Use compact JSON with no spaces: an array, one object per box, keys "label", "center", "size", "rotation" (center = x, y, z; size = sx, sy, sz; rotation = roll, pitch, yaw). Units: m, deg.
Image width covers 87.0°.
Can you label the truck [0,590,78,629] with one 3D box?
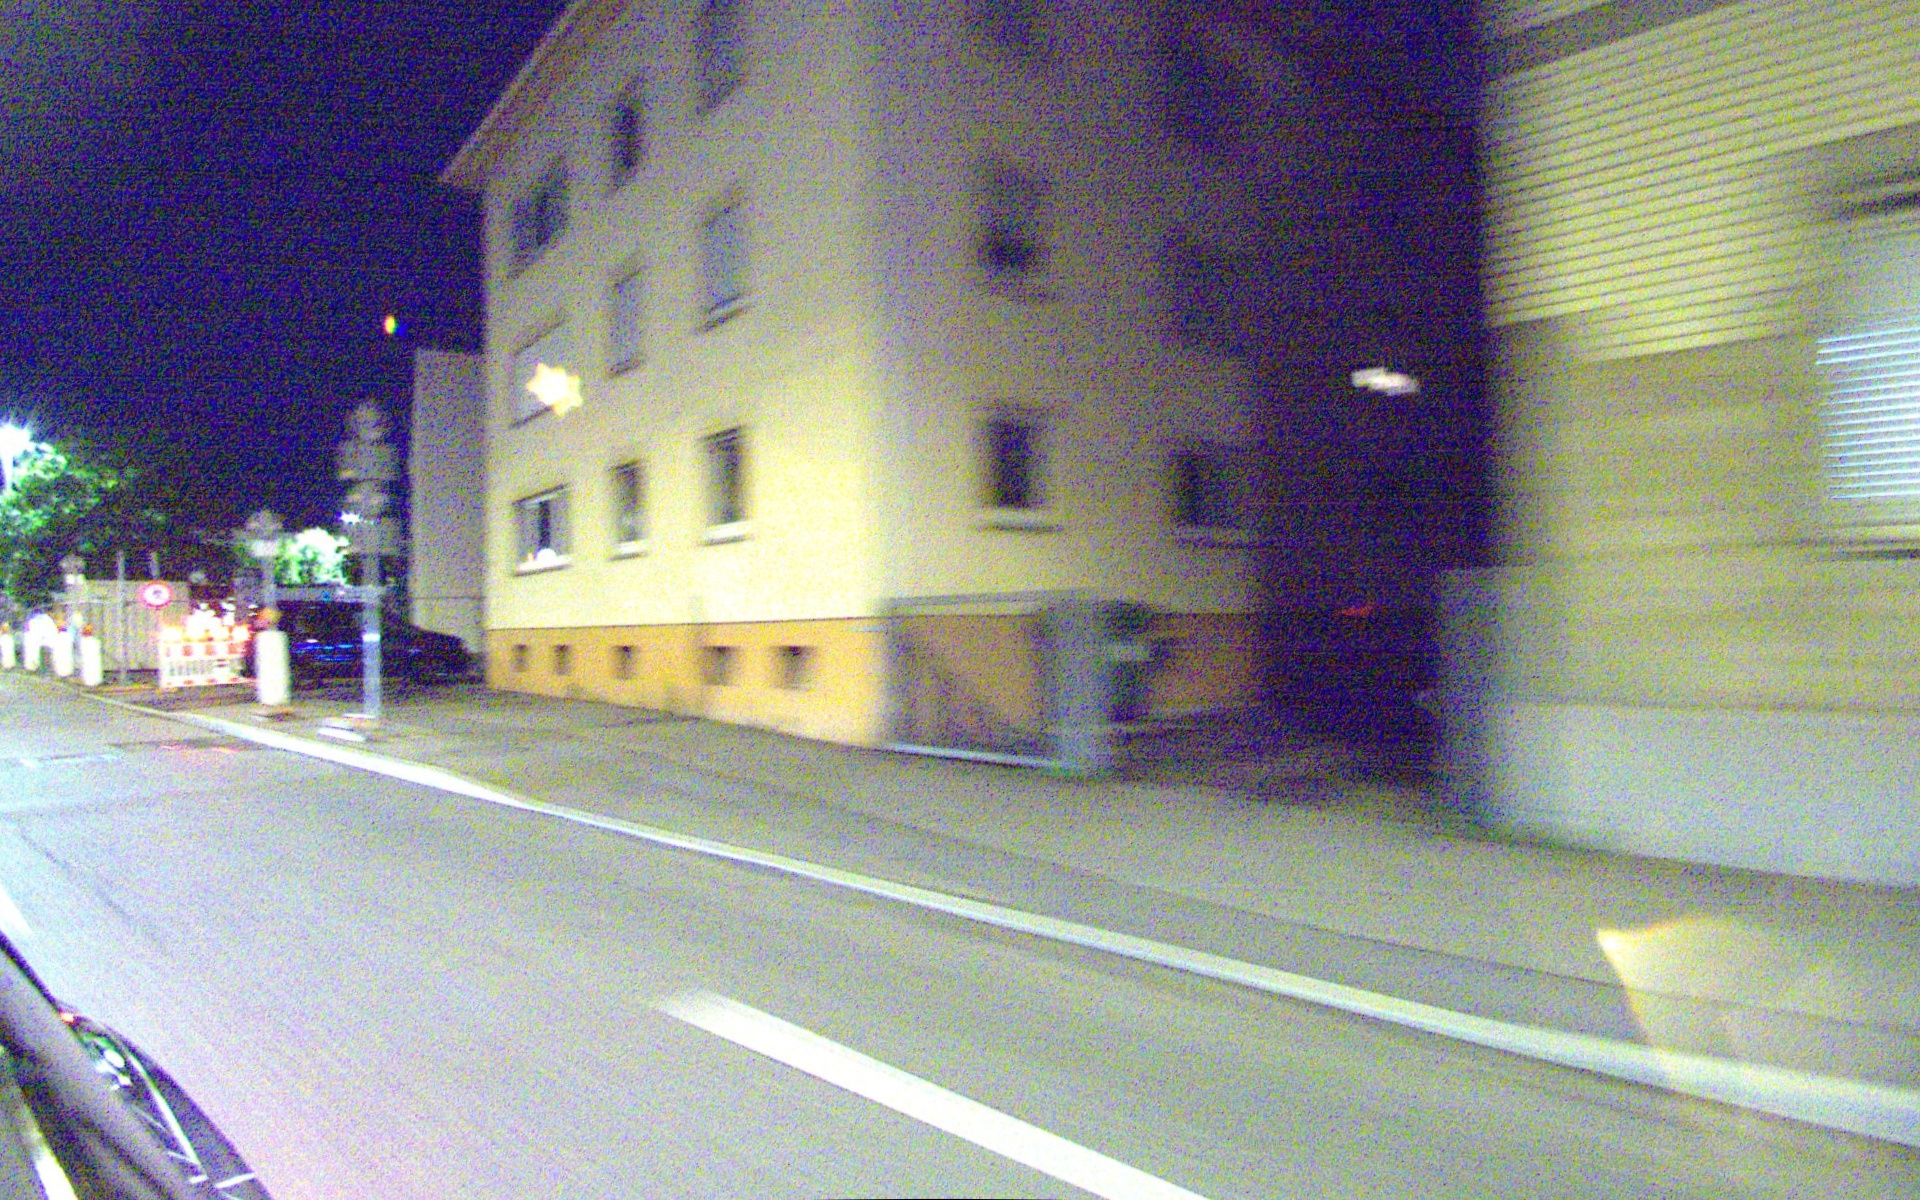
[{"label":"truck","center":[-91.172,0.903,99.832],"size":[6.105,3.722,2.407],"rotation":[0,-1,-37]}]

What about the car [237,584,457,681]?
[{"label":"car","center":[-13.222,0.640,21.904],"size":[3.934,1.903,1.913],"rotation":[0,0,-36]}]
